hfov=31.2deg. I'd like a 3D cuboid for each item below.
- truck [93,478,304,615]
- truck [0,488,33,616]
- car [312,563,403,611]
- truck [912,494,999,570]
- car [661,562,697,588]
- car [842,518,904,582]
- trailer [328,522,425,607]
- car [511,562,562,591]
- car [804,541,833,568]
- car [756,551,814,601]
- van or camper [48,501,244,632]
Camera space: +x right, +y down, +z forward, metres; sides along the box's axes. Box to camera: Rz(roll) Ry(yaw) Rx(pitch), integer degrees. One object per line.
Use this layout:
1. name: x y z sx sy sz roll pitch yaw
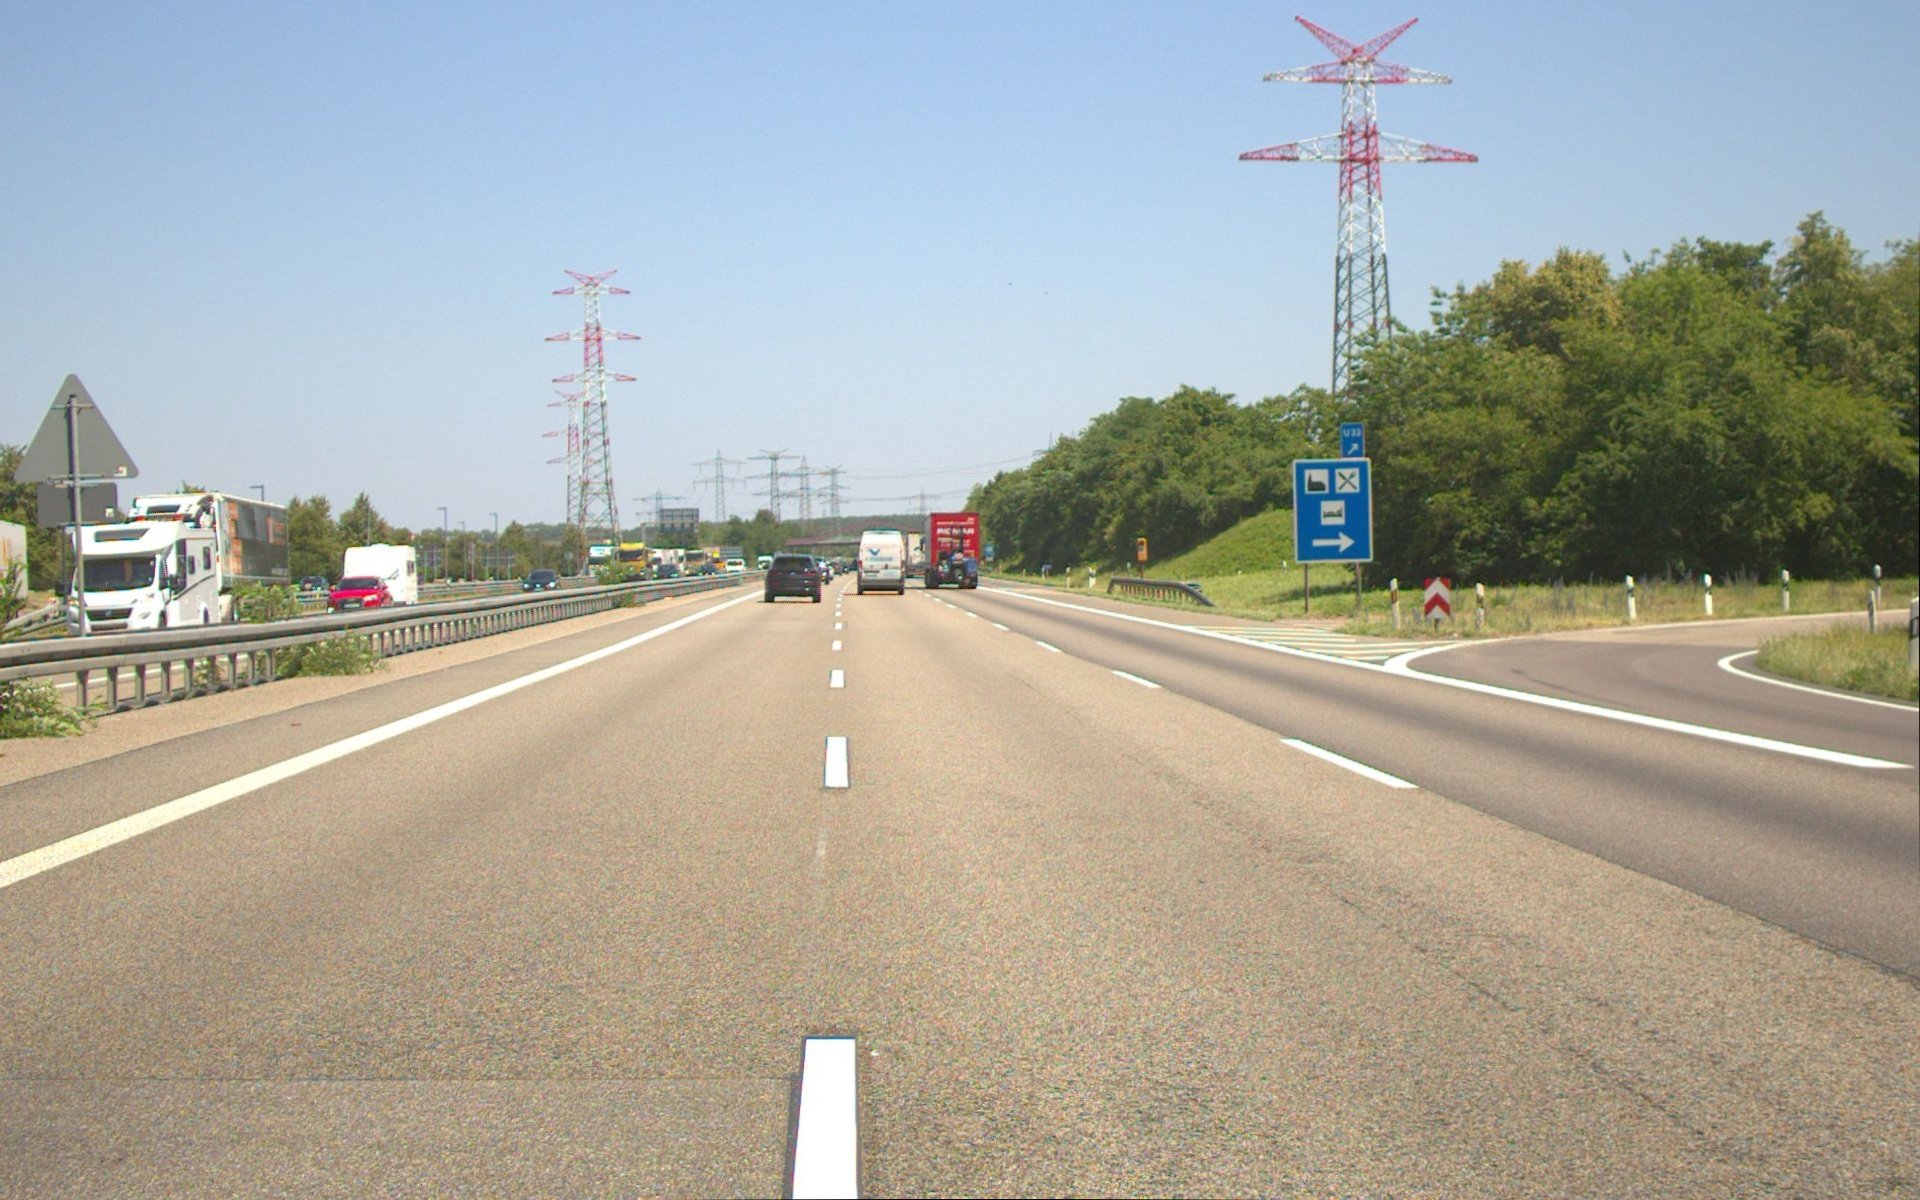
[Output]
1. truck: -24.024 -1.698 109.607 3.326 3.982 16.869 -1 1 -2
2. truck: -37.864 -1.768 131.333 3.070 4.811 7.717 -4 2 -4
3. car: -19.730 -0.435 112.759 2.227 1.375 4.692 -3 1 -2
4. truck: -0.338 -3.688 186.582 4.331 3.928 16.079 1 1 -1
5. car: -18.777 -1.663 229.844 2.052 1.546 4.891 -3 1 -2
6. car: -3.834 -2.209 151.137 2.621 2.749 6.097 1 1 -2
7. trailer: -19.928 -1.240 117.637 2.477 2.738 5.075 -3 1 -2
8. car: -22.458 -1.245 182.486 2.227 1.375 4.891 -3 1 -2
9. car: -8.777 -2.832 213.206 1.747 1.628 4.004 1 1 -2
10. car: -6.226 -0.871 122.584 1.993 1.744 4.001 1 1 -2
11. van or camper: -18.566 -0.791 78.945 2.501 2.801 8.562 -1 1 -1
